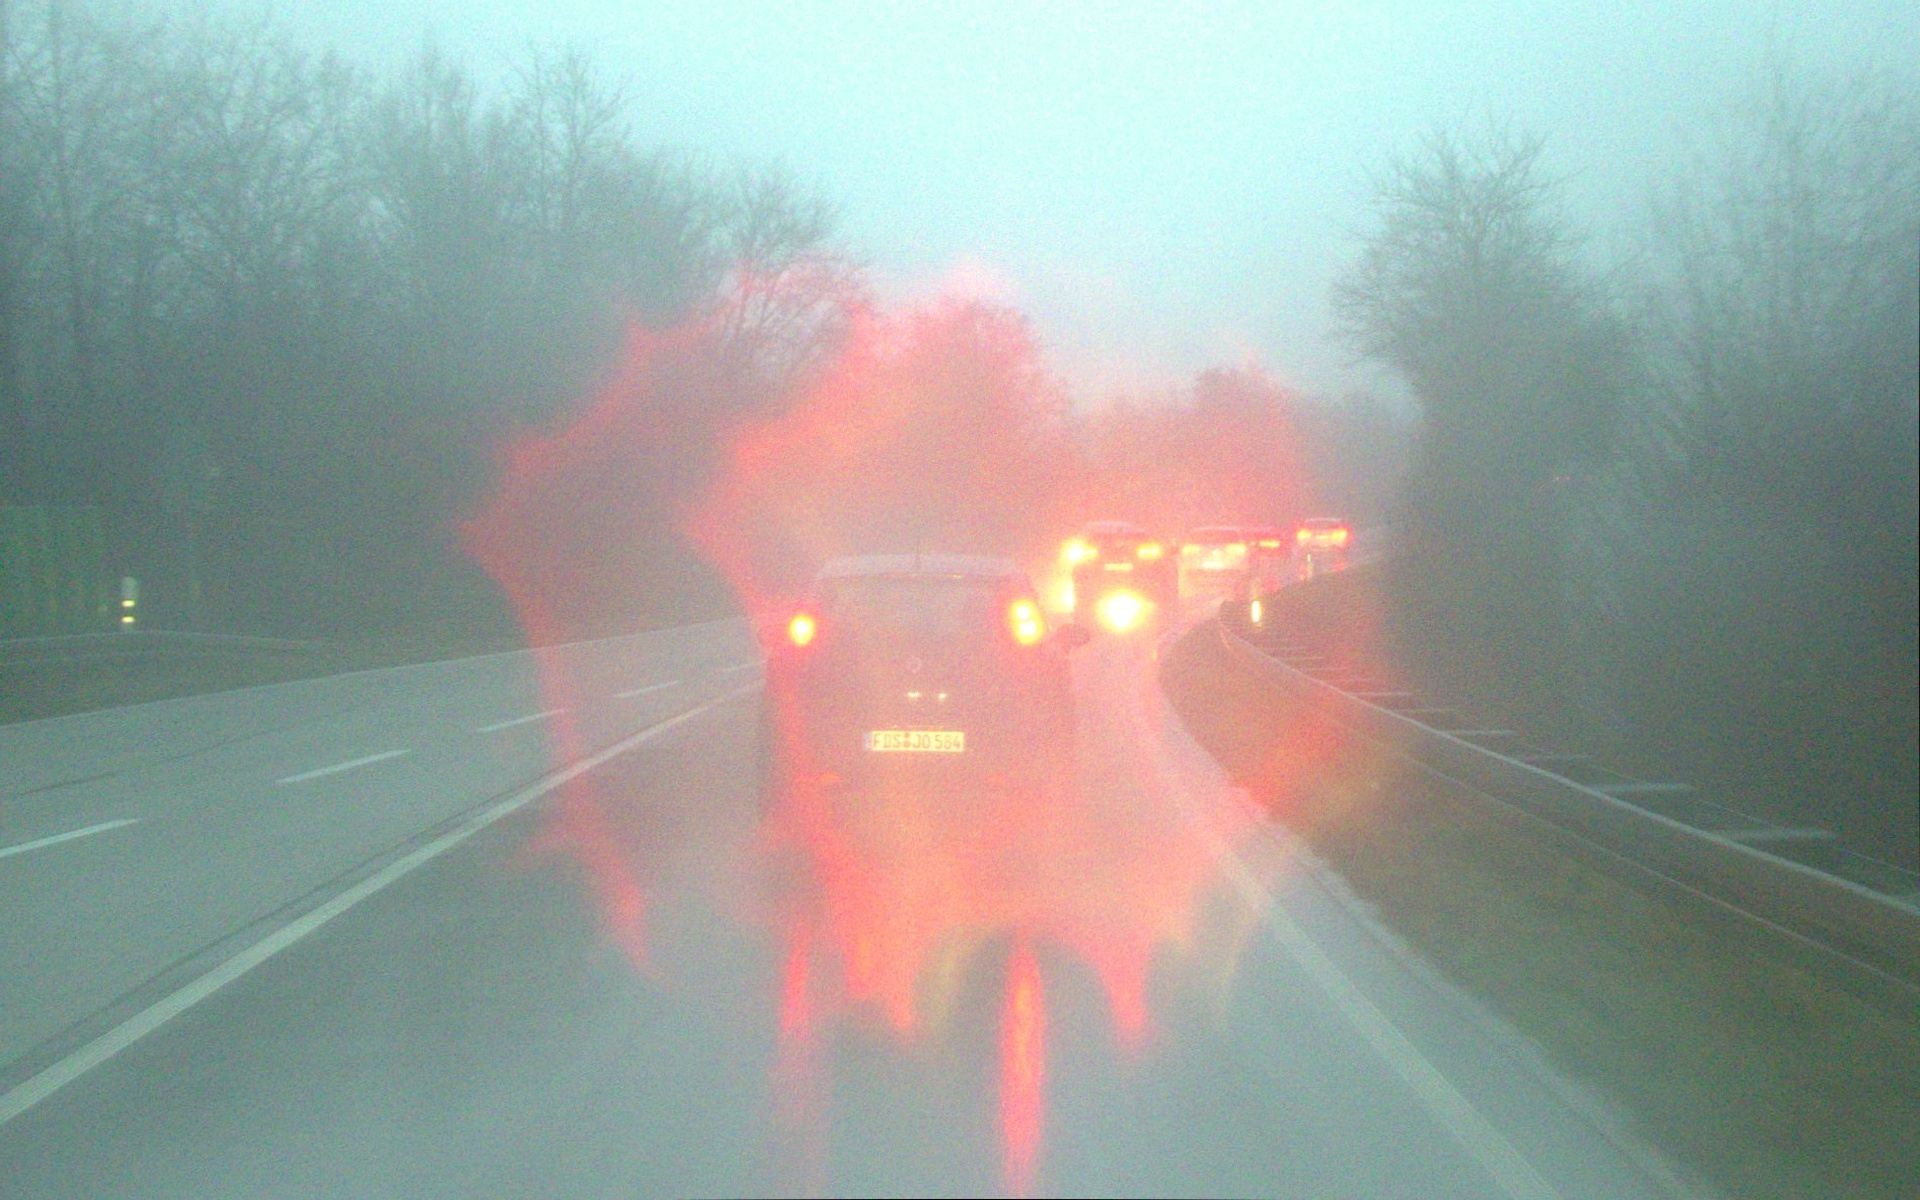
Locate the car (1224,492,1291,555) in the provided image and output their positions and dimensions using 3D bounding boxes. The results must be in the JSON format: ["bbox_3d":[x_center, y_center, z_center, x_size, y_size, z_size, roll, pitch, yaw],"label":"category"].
[{"bbox_3d":[8.947,-2.323,103.461,1.946,1.738,4.000,0,3,5],"label":"car"}]

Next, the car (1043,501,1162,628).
[{"bbox_3d":[2.665,-0.697,64.133,1.946,2.006,4.000,-6,3,3],"label":"car"}]

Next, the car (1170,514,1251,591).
[{"bbox_3d":[6.388,-1.223,87.303,1.946,1.738,4.000,0,4,6],"label":"car"}]

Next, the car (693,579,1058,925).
[{"bbox_3d":[-0.463,0.751,19.292,1.730,1.527,4.043,-4,2,-1],"label":"car"}]
